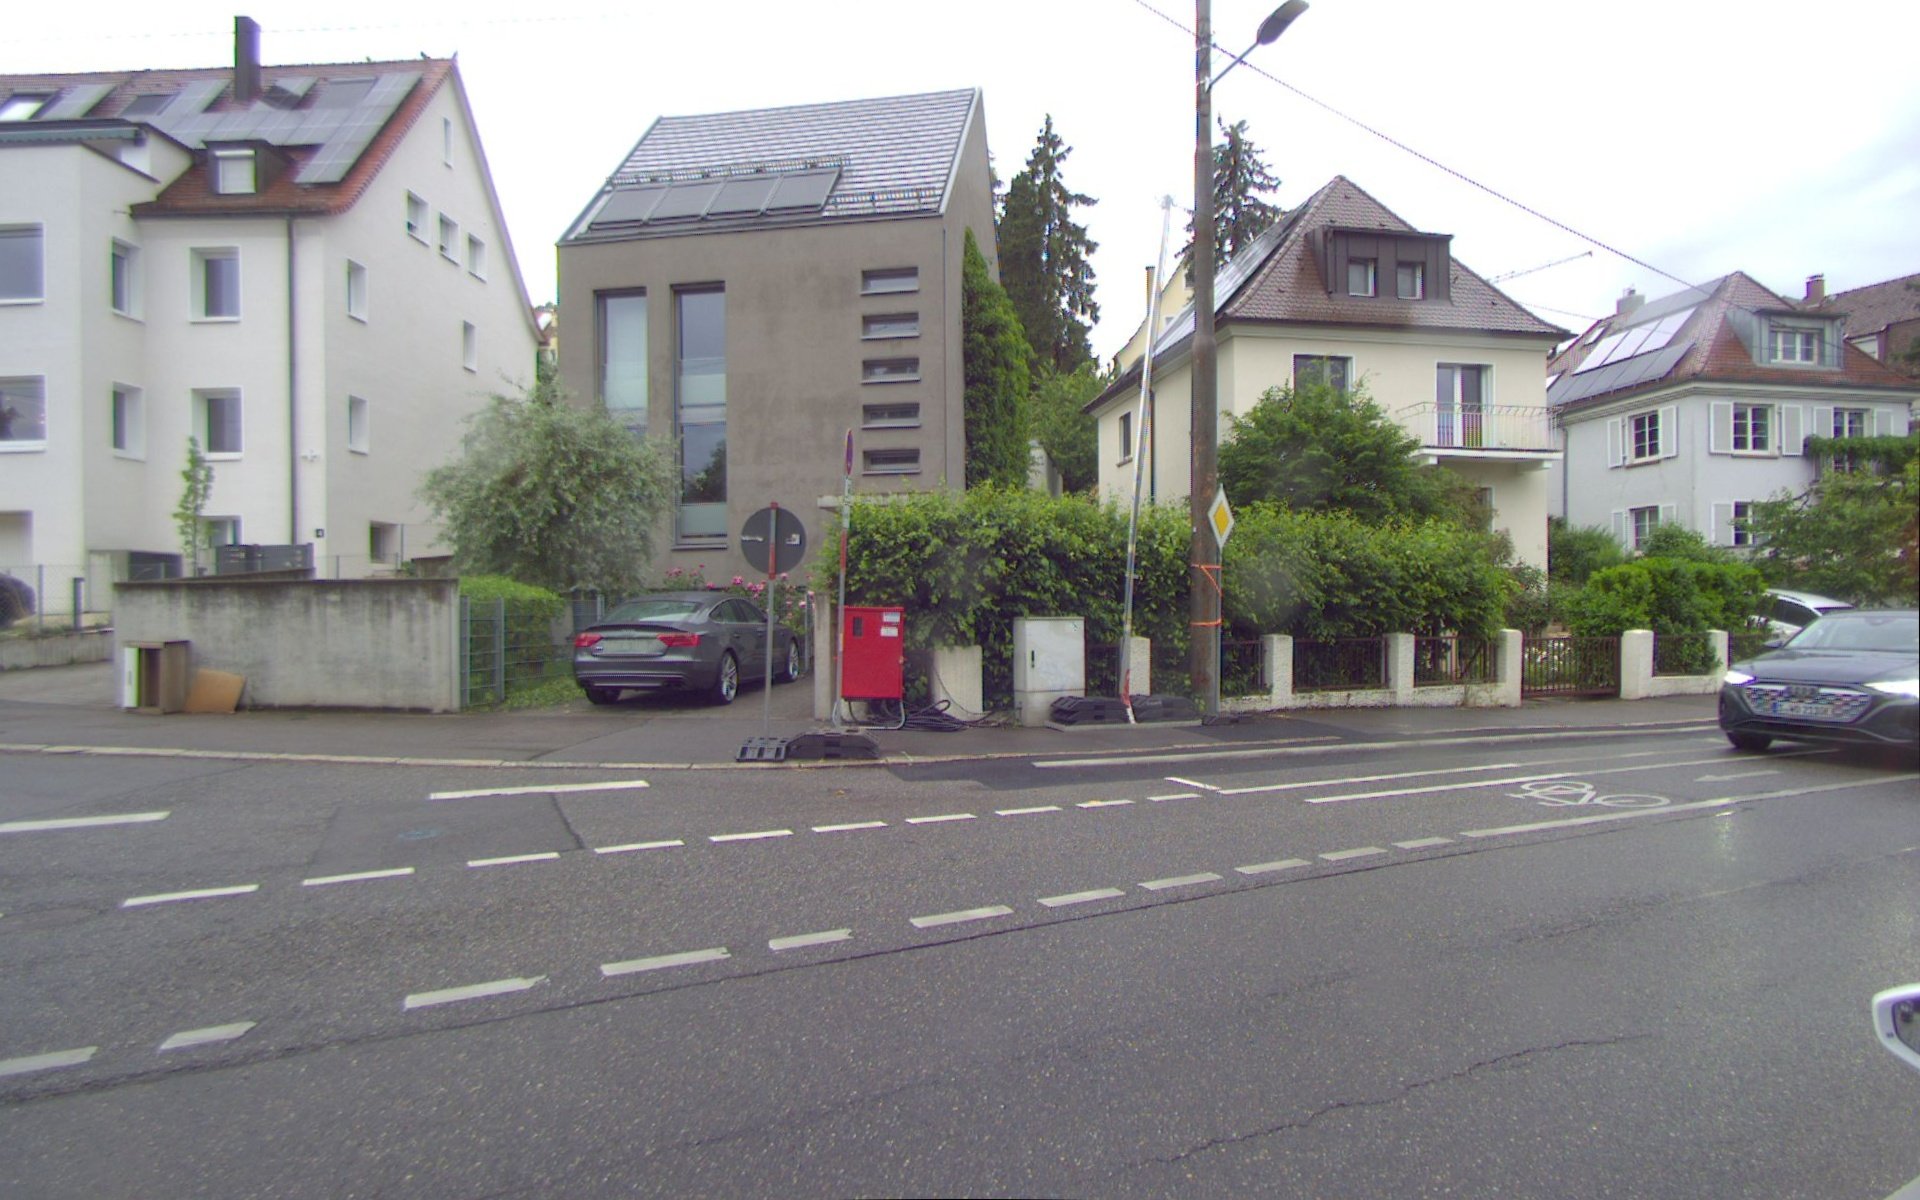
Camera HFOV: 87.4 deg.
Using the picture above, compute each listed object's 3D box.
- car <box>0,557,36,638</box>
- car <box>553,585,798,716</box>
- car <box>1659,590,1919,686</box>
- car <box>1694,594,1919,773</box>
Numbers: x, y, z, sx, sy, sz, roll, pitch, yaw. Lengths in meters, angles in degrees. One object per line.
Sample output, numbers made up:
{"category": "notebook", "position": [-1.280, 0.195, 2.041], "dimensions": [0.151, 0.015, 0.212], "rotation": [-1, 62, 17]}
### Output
{"category": "car", "position": [-16.736, 0.043, 15.173], "dimensions": [1.576, 1.298, 4.008], "rotation": [2, 4, 6]}
{"category": "car", "position": [-3.613, 0.557, 13.579], "dimensions": [1.740, 1.506, 4.002], "rotation": [0, 1, 7]}
{"category": "car", "position": [19.592, 0.808, 23.914], "dimensions": [1.870, 2.033, 4.628], "rotation": [1, 0, -18]}
{"category": "car", "position": [10.693, 0.856, 11.546], "dimensions": [4.633, 1.696, 1.984], "rotation": [1, -1, -30]}
